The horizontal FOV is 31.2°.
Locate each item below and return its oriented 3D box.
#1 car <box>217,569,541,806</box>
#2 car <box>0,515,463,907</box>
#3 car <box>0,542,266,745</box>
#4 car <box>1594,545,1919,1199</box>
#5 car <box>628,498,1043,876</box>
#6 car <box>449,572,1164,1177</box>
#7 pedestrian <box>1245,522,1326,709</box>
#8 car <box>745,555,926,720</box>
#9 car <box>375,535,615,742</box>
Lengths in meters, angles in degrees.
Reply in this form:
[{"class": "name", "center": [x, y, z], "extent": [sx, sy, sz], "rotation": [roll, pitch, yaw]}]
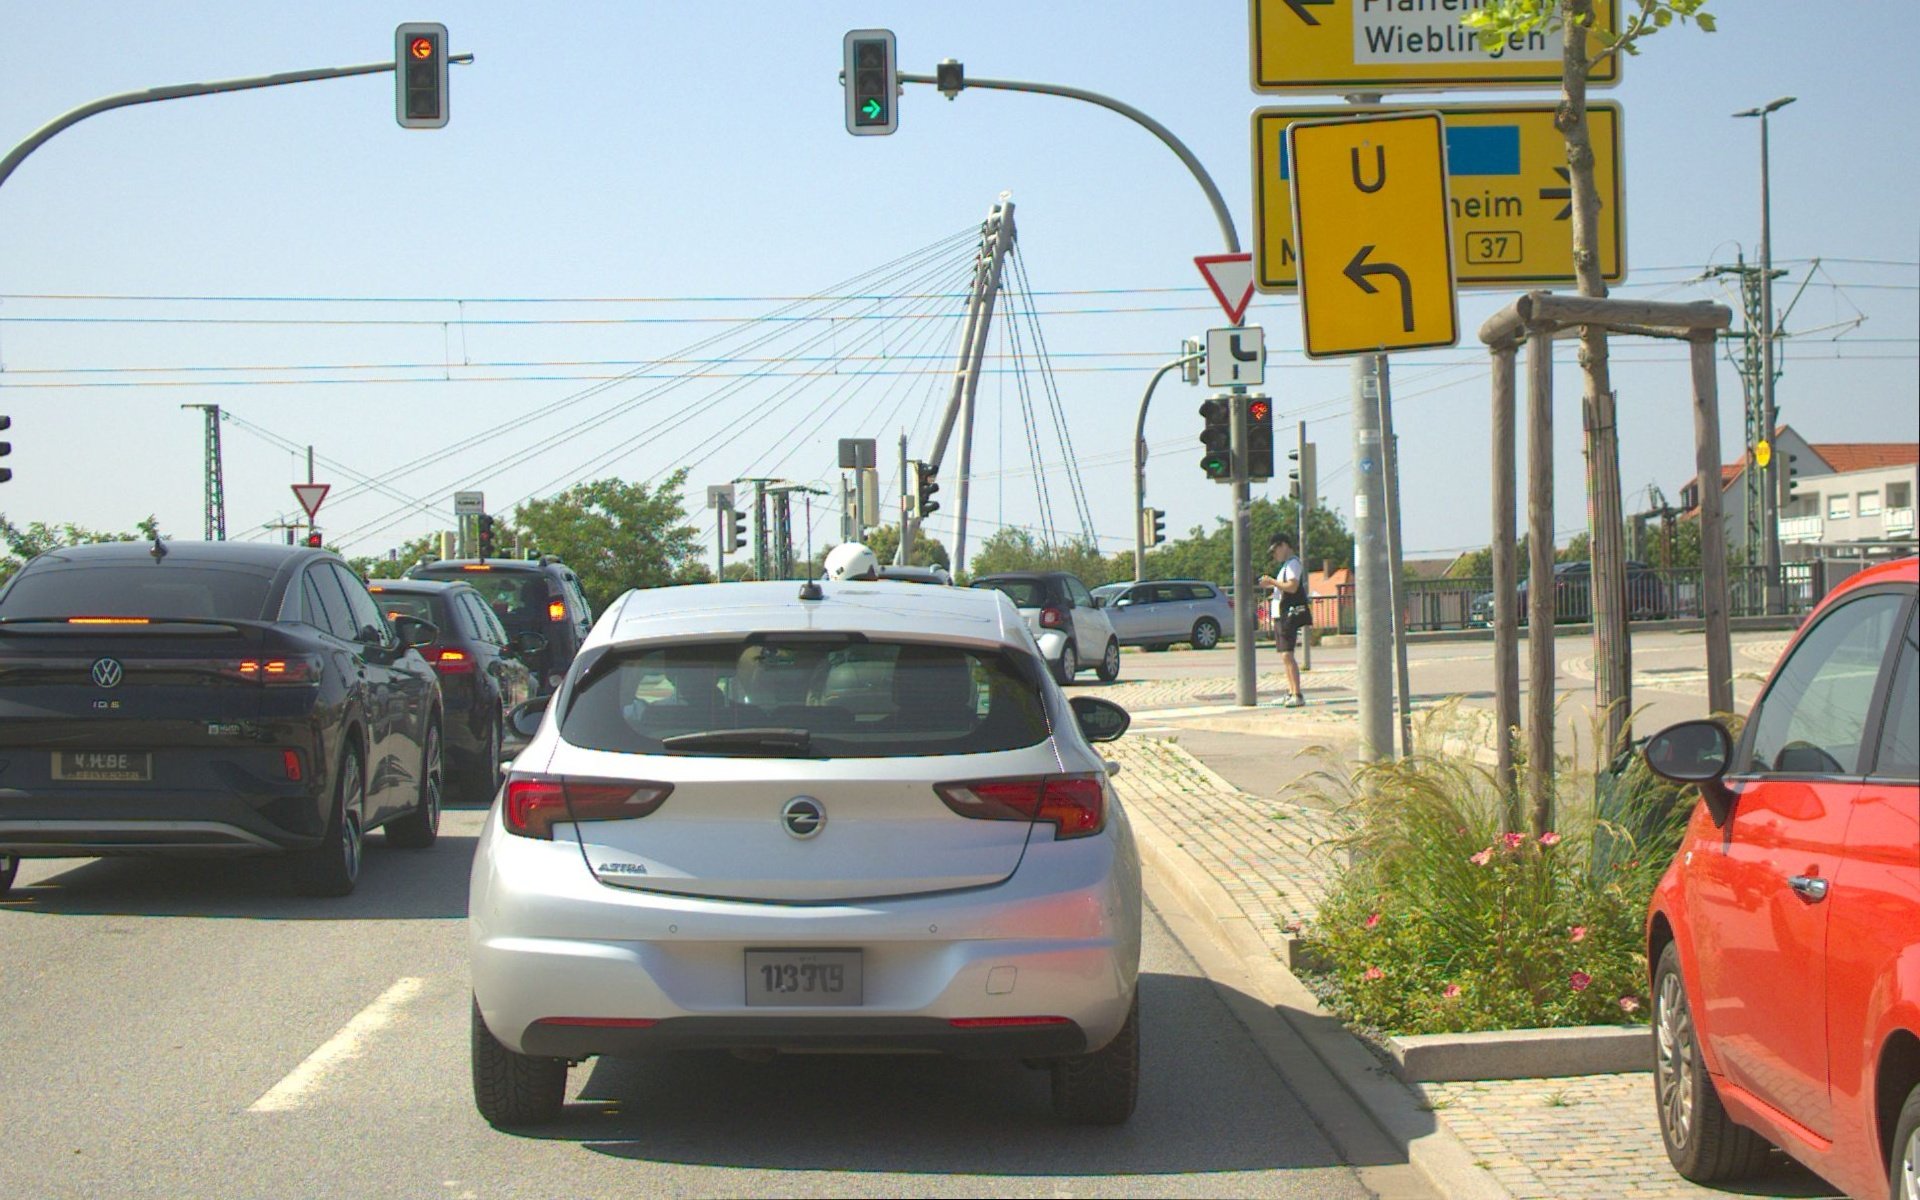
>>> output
[{"class": "car", "center": [-3.783, 0.532, 22.926], "extent": [1.575, 1.429, 3.786], "rotation": [1, 0, -1]}, {"class": "car", "center": [-3.626, 0.463, 16.711], "extent": [1.801, 1.636, 4.366], "rotation": [1, 0, 0]}, {"class": "car", "center": [-6.813, 0.331, 28.260], "extent": [1.597, 1.542, 3.763], "rotation": [1, 0, -3]}, {"class": "car", "center": [2.408, 0.629, 6.978], "extent": [1.610, 1.491, 3.352], "rotation": [-2, 1, 1]}, {"class": "car", "center": [-0.623, 0.384, 18.938], "extent": [1.993, 1.814, 4.402], "rotation": [1, 1, 0]}, {"class": "car", "center": [-0.474, 0.676, 10.471], "extent": [1.742, 1.473, 4.000], "rotation": [1, 0, -3]}, {"class": "pedestrian", "center": [3.260, 0.149, 34.484], "extent": [0.647, 1.830, 0.798], "rotation": [-2, 0, -2]}, {"class": "car", "center": [-1.231, 0.341, 35.469], "extent": [1.724, 1.558, 4.000], "rotation": [1, 1, 0]}, {"class": "car", "center": [-3.851, 0.299, 28.970], "extent": [1.649, 1.610, 3.820], "rotation": [1, 0, -3]}]
